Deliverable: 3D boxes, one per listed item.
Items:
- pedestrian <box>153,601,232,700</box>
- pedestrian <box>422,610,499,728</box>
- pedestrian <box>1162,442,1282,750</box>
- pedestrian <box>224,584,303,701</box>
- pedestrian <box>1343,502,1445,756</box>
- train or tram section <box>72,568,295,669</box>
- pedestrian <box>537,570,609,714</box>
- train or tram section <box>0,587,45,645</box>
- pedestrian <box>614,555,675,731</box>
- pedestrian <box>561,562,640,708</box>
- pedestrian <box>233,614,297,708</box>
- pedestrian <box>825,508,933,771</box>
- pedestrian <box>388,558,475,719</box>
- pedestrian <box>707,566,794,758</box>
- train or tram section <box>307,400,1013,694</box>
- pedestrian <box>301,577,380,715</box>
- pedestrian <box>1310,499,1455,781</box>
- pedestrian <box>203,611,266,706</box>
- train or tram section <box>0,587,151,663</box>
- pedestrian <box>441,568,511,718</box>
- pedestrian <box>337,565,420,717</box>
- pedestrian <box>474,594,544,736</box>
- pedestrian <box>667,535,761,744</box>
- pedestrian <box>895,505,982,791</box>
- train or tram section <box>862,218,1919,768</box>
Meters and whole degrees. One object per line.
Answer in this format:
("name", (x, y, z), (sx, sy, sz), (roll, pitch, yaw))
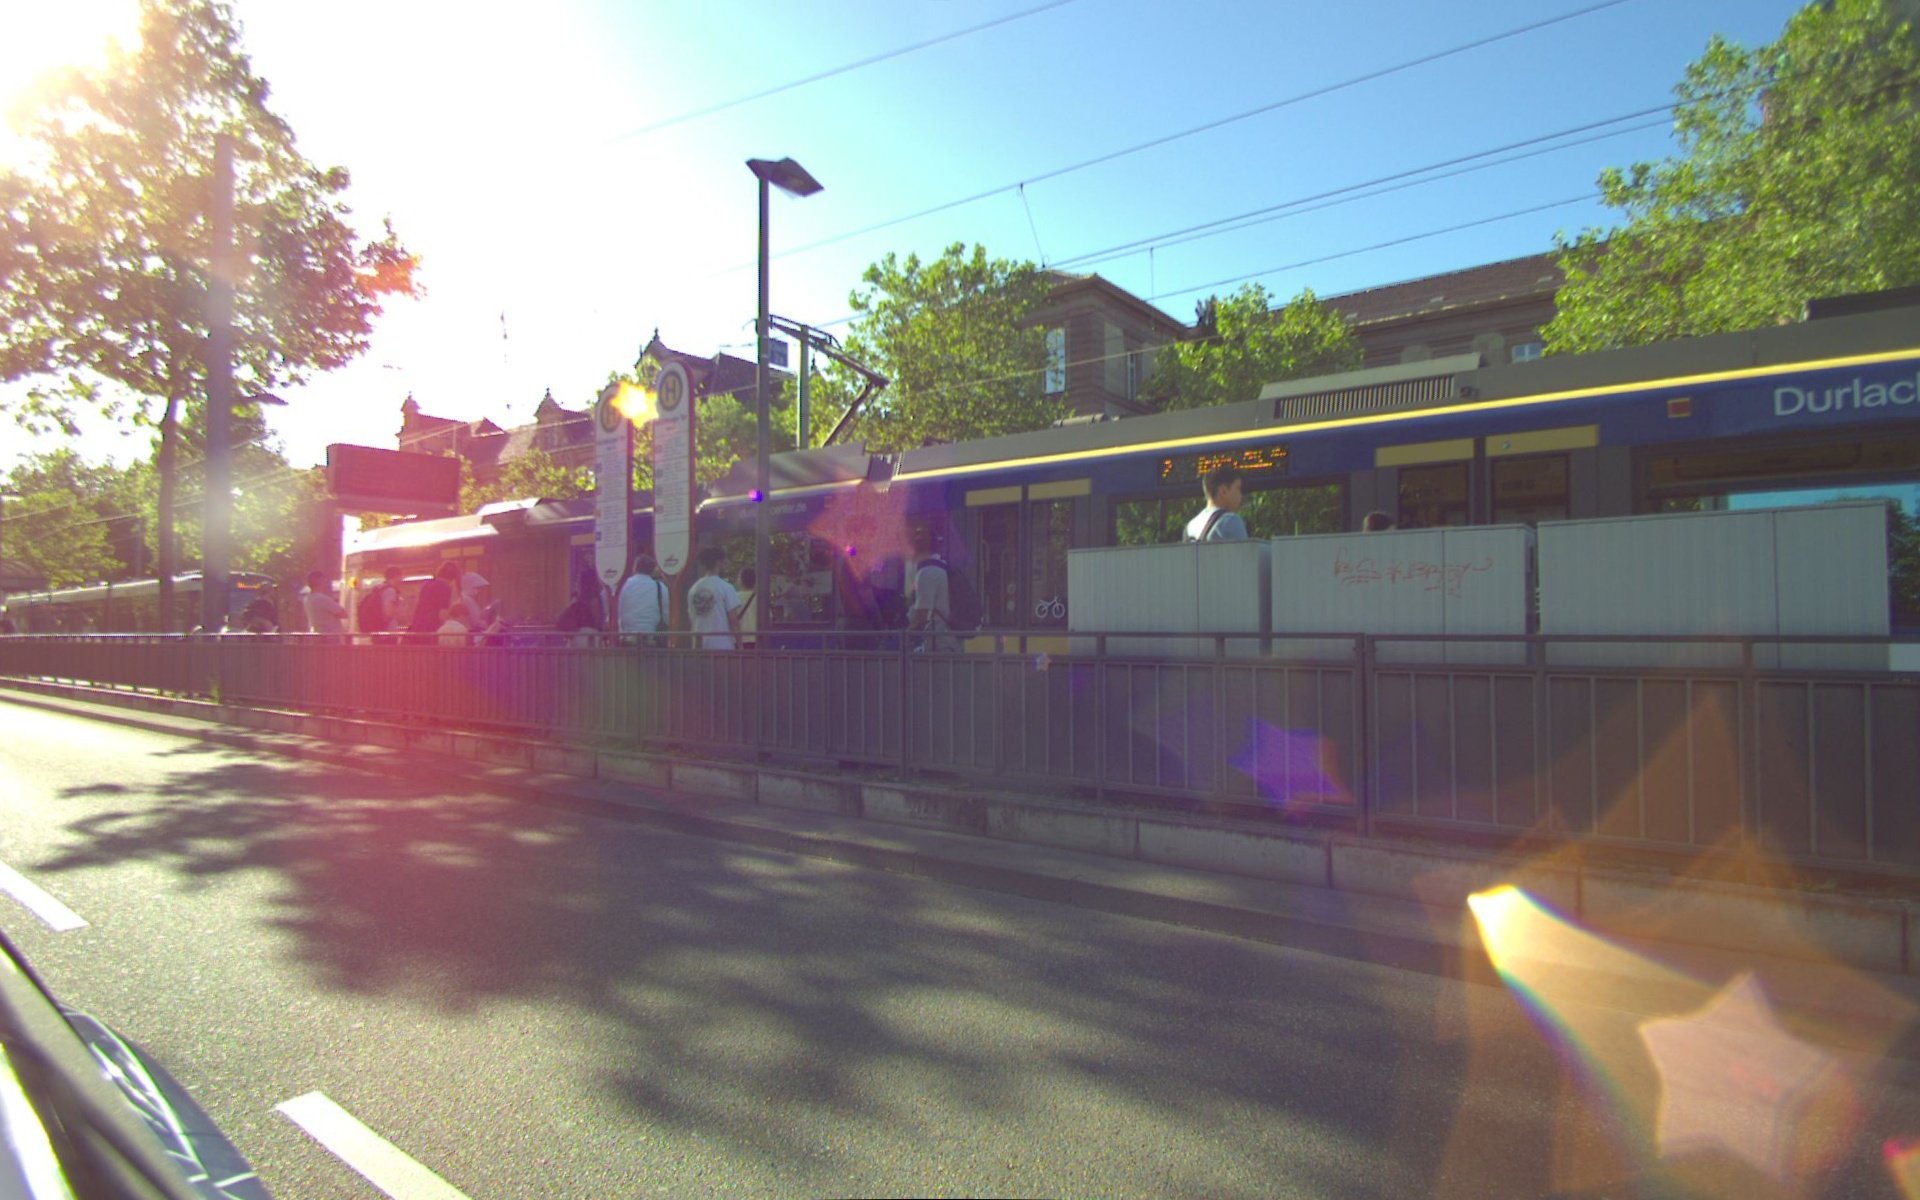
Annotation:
("pedestrian", (-12.248, 0.803, 16.163), (0.750, 1.521, 0.769), (-2, -3, 34))
("pedestrian", (-5.262, 0.713, 10.670), (0.530, 1.201, 0.540), (-2, -3, 37))
("pedestrian", (1.586, -0.012, 6.122), (0.538, 1.747, 0.543), (-2, -3, 34))
("pedestrian", (-10.794, 0.658, 15.695), (0.721, 1.766, 0.769), (-2, -3, 34))
("pedestrian", (3.106, 0.208, 7.230), (0.544, 1.715, 0.603), (-2, -3, 34))
("train or tram section", (-32.274, 0.877, 41.414), (18.188, 3.460, 2.822), (-2, -1, 38))
("pedestrian", (-4.270, 0.463, 11.178), (0.530, 1.530, 0.540), (-2, -3, 37))
("train or tram section", (-49.079, 0.921, 50.404), (15.652, 2.584, 2.538), (-2, -2, 38))
("pedestrian", (-3.204, 0.431, 10.256), (0.498, 1.715, 0.613), (1, -3, -25))
("pedestrian", (-4.238, 0.413, 11.937), (0.621, 1.662, 0.613), (-2, -3, 34))
("pedestrian", (-9.546, 0.833, 13.906), (0.603, 1.256, 0.529), (-2, -3, 36))
("pedestrian", (-0.568, 0.272, 7.108), (0.538, 1.747, 0.543), (-2, -3, 34))
("pedestrian", (-5.853, 0.423, 11.216), (0.570, 1.709, 0.654), (-2, -3, 39))
("pedestrian", (-2.026, 0.589, 9.802), (0.610, 1.784, 0.548), (-2, -3, 34))
("train or tram section", (-6.439, -0.538, 17.329), (15.870, 3.285, 2.887), (-1, 0, 38))
("pedestrian", (-7.672, 0.569, 12.543), (0.570, 1.646, 0.654), (-2, -3, 39))
("pedestrian", (2.767, 0.259, 6.627), (0.745, 1.715, 0.627), (-2, -3, 34))
("pedestrian", (-10.377, 0.831, 14.478), (0.603, 1.309, 0.529), (-2, -3, 34))
("train or tram section", (-46.608, 1.379, 52.742), (18.250, 3.460, 2.843), (-2, -1, 38))
("pedestrian", (-5.778, 0.510, 12.086), (0.620, 1.721, 0.510), (-2, -3, 37))
("pedestrian", (-6.799, 0.480, 11.834), (0.570, 1.709, 0.654), (-2, -3, 39))
("pedestrian", (-4.347, 0.618, 9.758), (0.506, 1.326, 0.412), (-2, -3, 36))
("pedestrian", (-2.111, 0.334, 8.703), (0.610, 1.715, 0.501), (-2, -3, 34))
("pedestrian", (-0.146, 0.299, 6.463), (0.532, 1.747, 0.550), (0, -2, -2))
("train or tram section", (4.954, -0.632, 8.485), (13.094, 3.285, 2.887), (-1, 0, 38))
